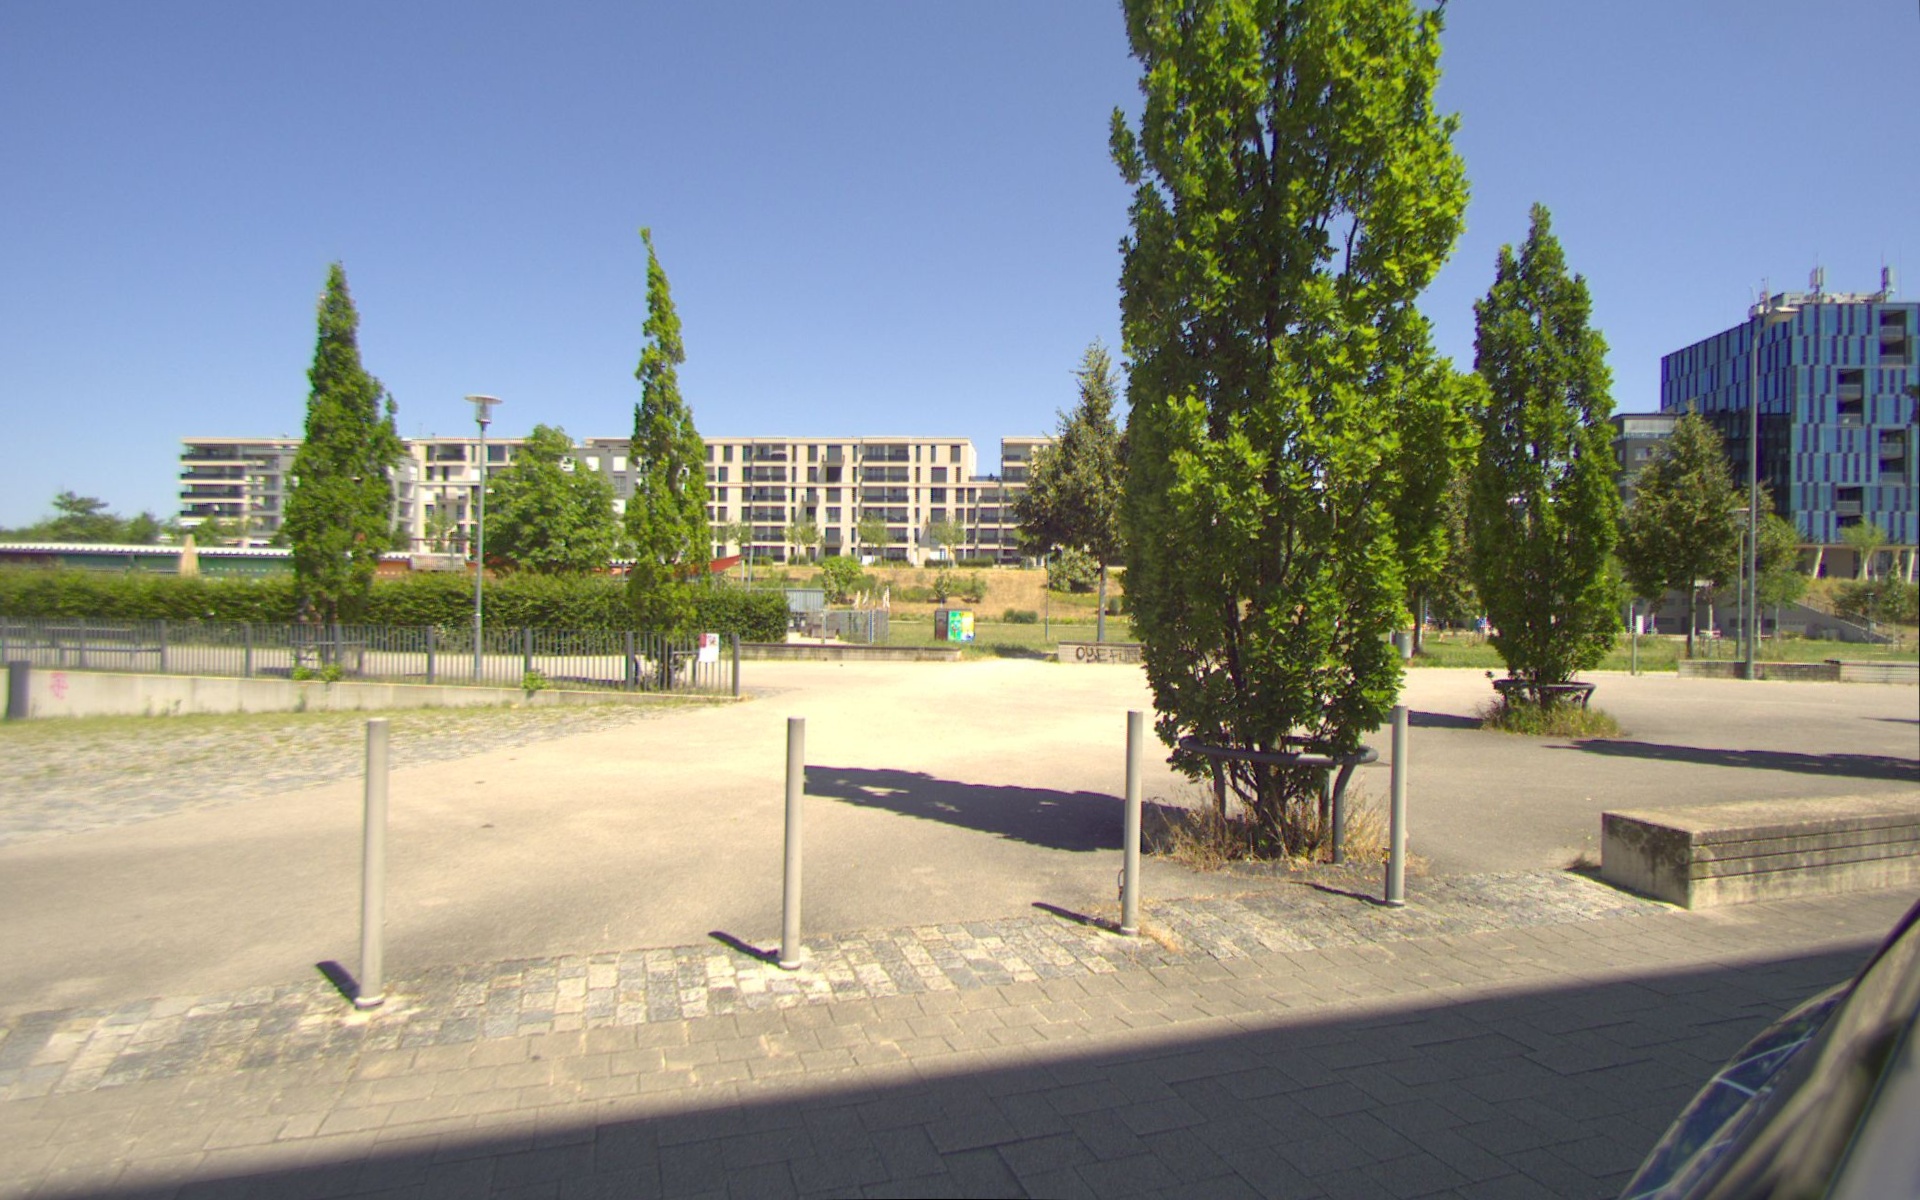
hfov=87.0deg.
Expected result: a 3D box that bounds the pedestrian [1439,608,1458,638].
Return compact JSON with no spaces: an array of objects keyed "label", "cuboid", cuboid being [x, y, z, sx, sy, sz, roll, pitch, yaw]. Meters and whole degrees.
[{"label":"pedestrian","cuboid":[28.291,1.337,58.603,0.604,1.749,0.814,2,-1,-41]}]

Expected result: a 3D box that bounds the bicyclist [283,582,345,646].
[{"label":"bicyclist","cuboid":[-15.069,0.317,23.611,0.872,1.474,0.854,0,-1,20]}]

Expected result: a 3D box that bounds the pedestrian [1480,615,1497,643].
[{"label":"pedestrian","cuboid":[33.404,1.856,63.981,0.604,1.749,0.814,2,-1,-41]}]

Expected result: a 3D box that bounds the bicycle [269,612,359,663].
[{"label":"bicycle","cuboid":[-15.050,0.852,23.592,1.891,1.132,0.793,0,-1,21]}]
